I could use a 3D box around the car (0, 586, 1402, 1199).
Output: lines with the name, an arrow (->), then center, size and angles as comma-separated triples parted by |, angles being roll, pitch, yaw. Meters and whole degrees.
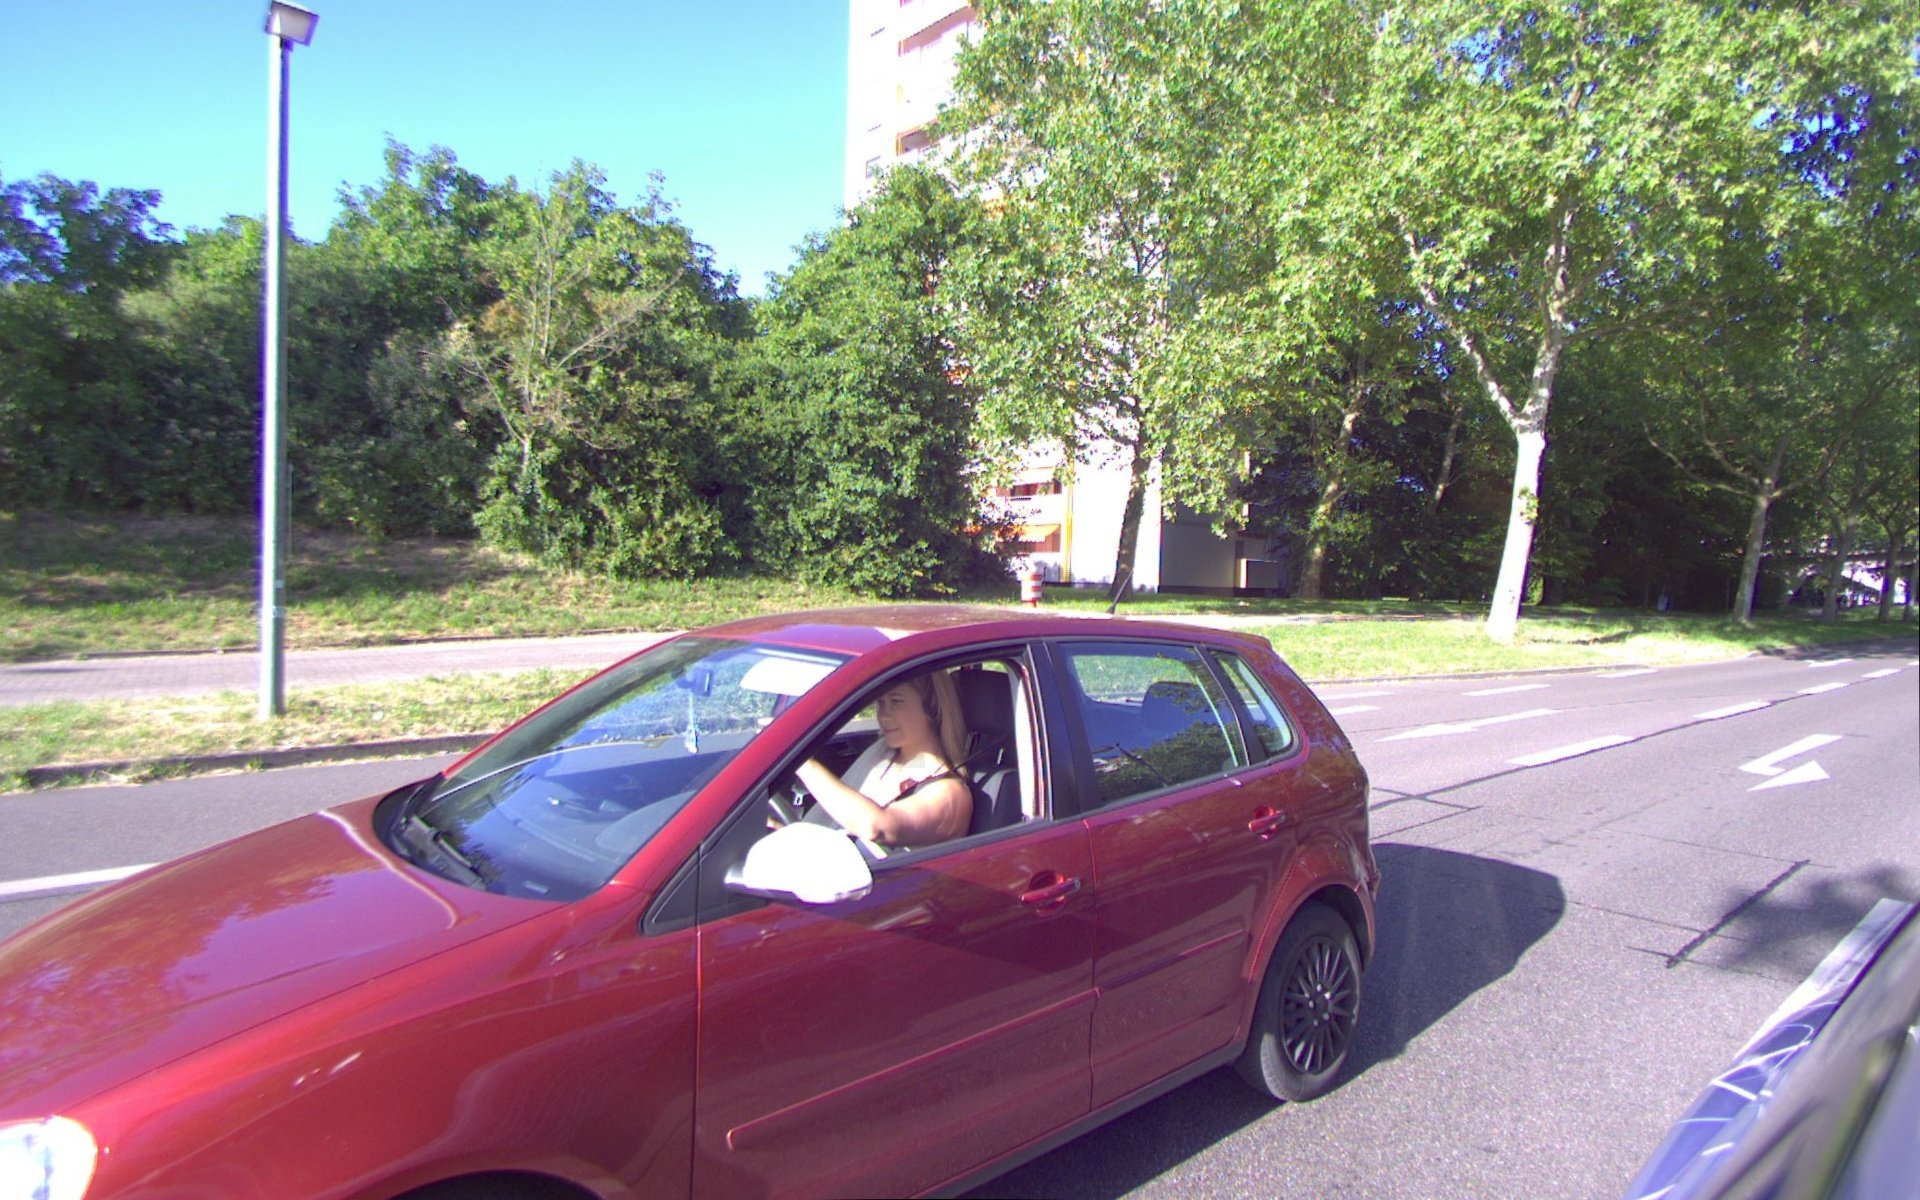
car -> -0.452, 0.709, 2.723 | 3.624, 1.479, 1.579 | -1, 0, -40
